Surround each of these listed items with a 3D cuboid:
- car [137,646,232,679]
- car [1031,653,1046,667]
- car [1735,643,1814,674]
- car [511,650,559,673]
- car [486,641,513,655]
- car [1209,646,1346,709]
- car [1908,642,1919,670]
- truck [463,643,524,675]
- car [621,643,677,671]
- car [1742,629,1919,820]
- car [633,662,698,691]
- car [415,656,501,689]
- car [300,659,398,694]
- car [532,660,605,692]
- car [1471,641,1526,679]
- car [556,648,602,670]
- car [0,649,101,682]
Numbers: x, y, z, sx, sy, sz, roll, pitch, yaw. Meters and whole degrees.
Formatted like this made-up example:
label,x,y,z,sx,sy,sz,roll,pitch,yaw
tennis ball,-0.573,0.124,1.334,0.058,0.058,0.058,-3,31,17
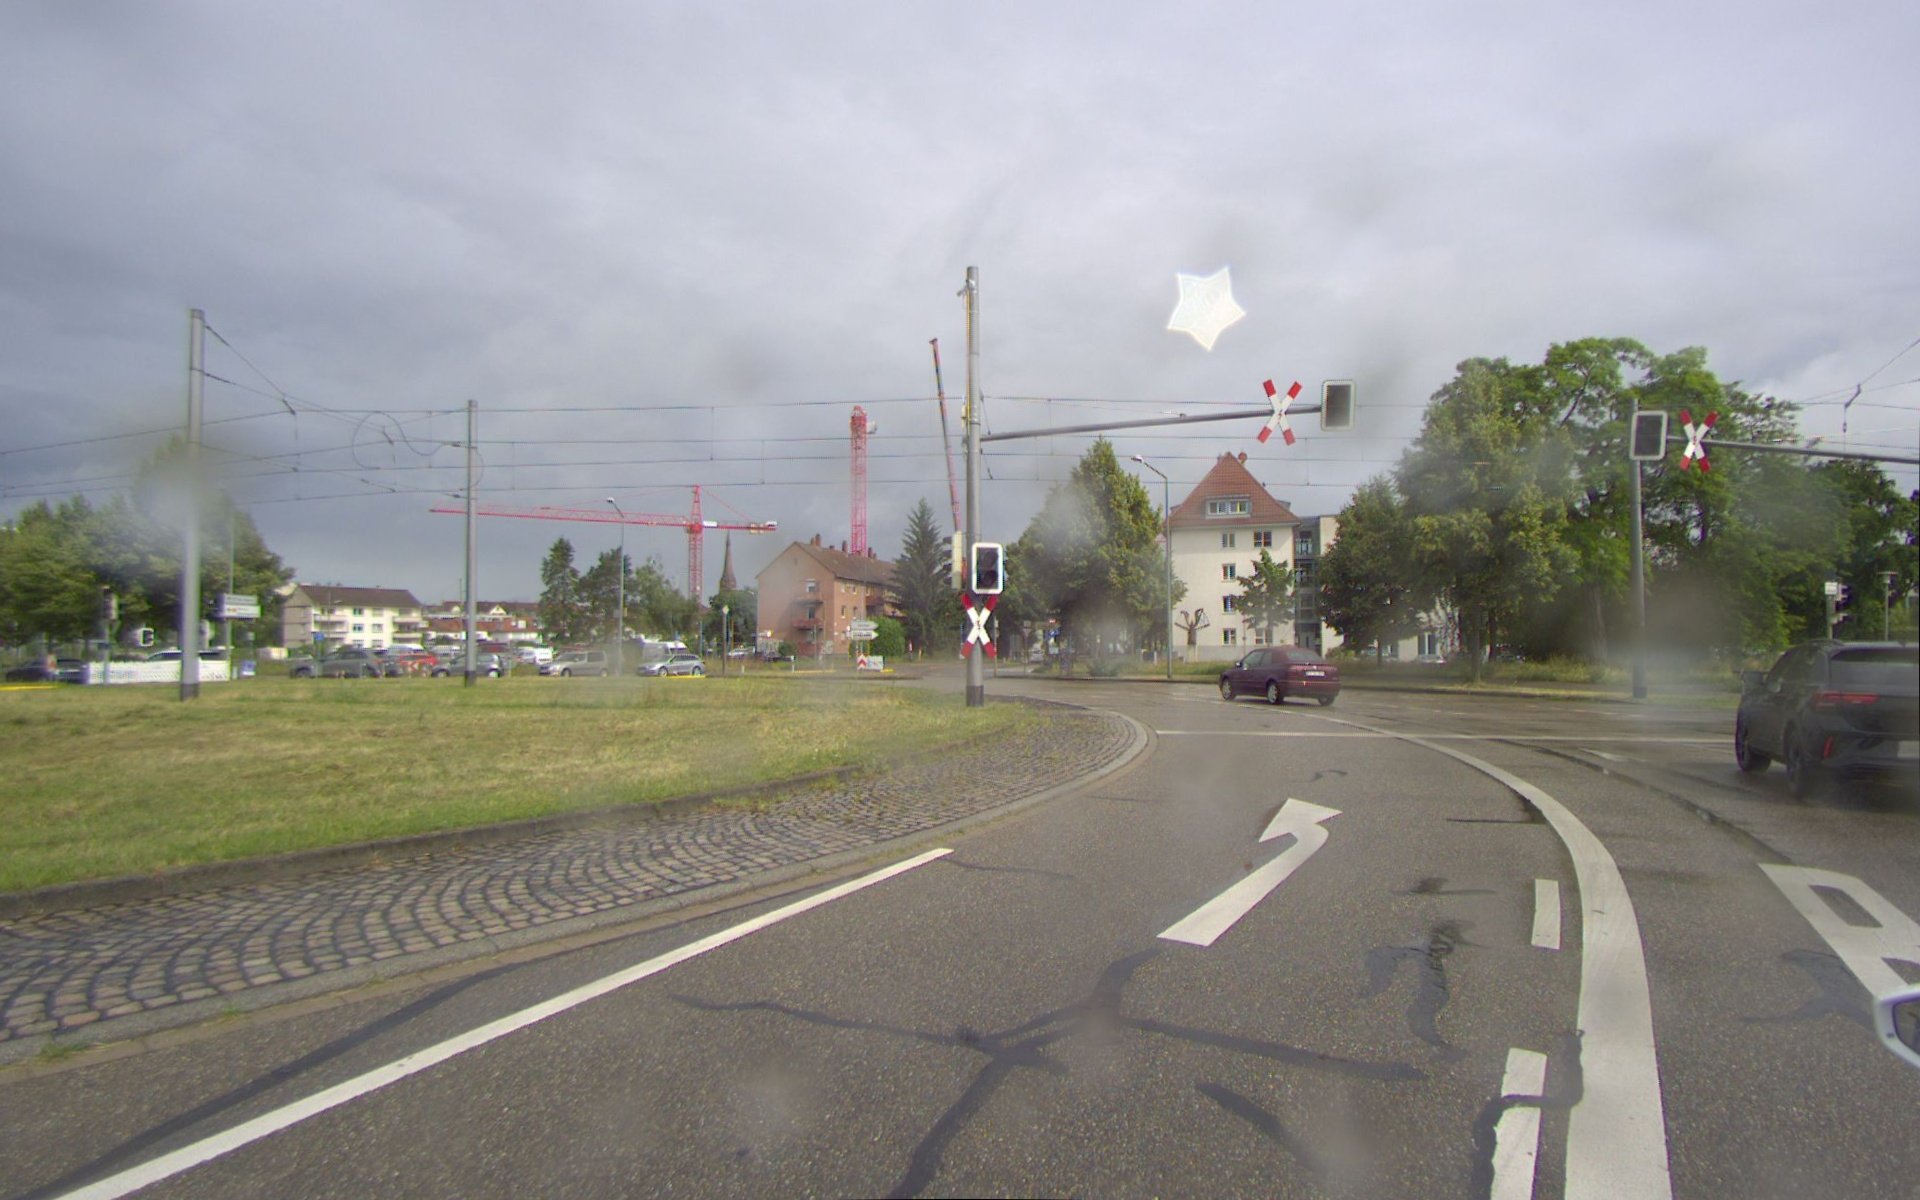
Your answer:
label,x,y,z,sx,sy,sz,roll,pitch,yaw
car,-36.553,2.932,47.382,3.429,1.530,1.501,0,-2,6
car,8.477,6.479,108.340,1.519,1.473,3.503,-1,-2,7
car,43.451,3.124,53.678,1.813,1.580,3.981,-1,-3,16
car,-35.289,5.100,83.341,3.935,1.722,1.851,0,-2,36
car,-59.164,6.142,129.056,3.540,1.745,1.496,-2,-3,34
car,8.222,1.979,26.411,1.690,1.481,3.993,-1,-2,-11
car,50.748,2.873,51.577,1.613,1.481,3.612,-1,-3,19
truck,-36.357,4.572,78.234,2.382,2.241,6.020,3,-2,-45
car,-26.702,4.843,86.080,2.030,2.112,6.183,3,-2,-44
car,9.439,1.153,10.519,1.873,1.639,3.985,1,-1,37
car,-17.562,4.529,60.011,1.575,1.581,3.537,-2,-2,37
car,-26.257,3.749,52.573,3.949,1.606,1.785,1,-2,-28
car,-28.864,3.600,47.564,3.610,1.581,1.572,0,-2,-8
car,-21.037,4.082,54.106,1.522,1.581,3.495,-1,-3,29
car,31.248,3.444,58.409,2.072,2.084,5.161,-2,-2,20
car,-31.876,4.905,83.899,3.940,1.722,1.921,0,-2,41
car,-44.781,3.220,49.414,3.919,1.537,1.804,-1,-2,12
